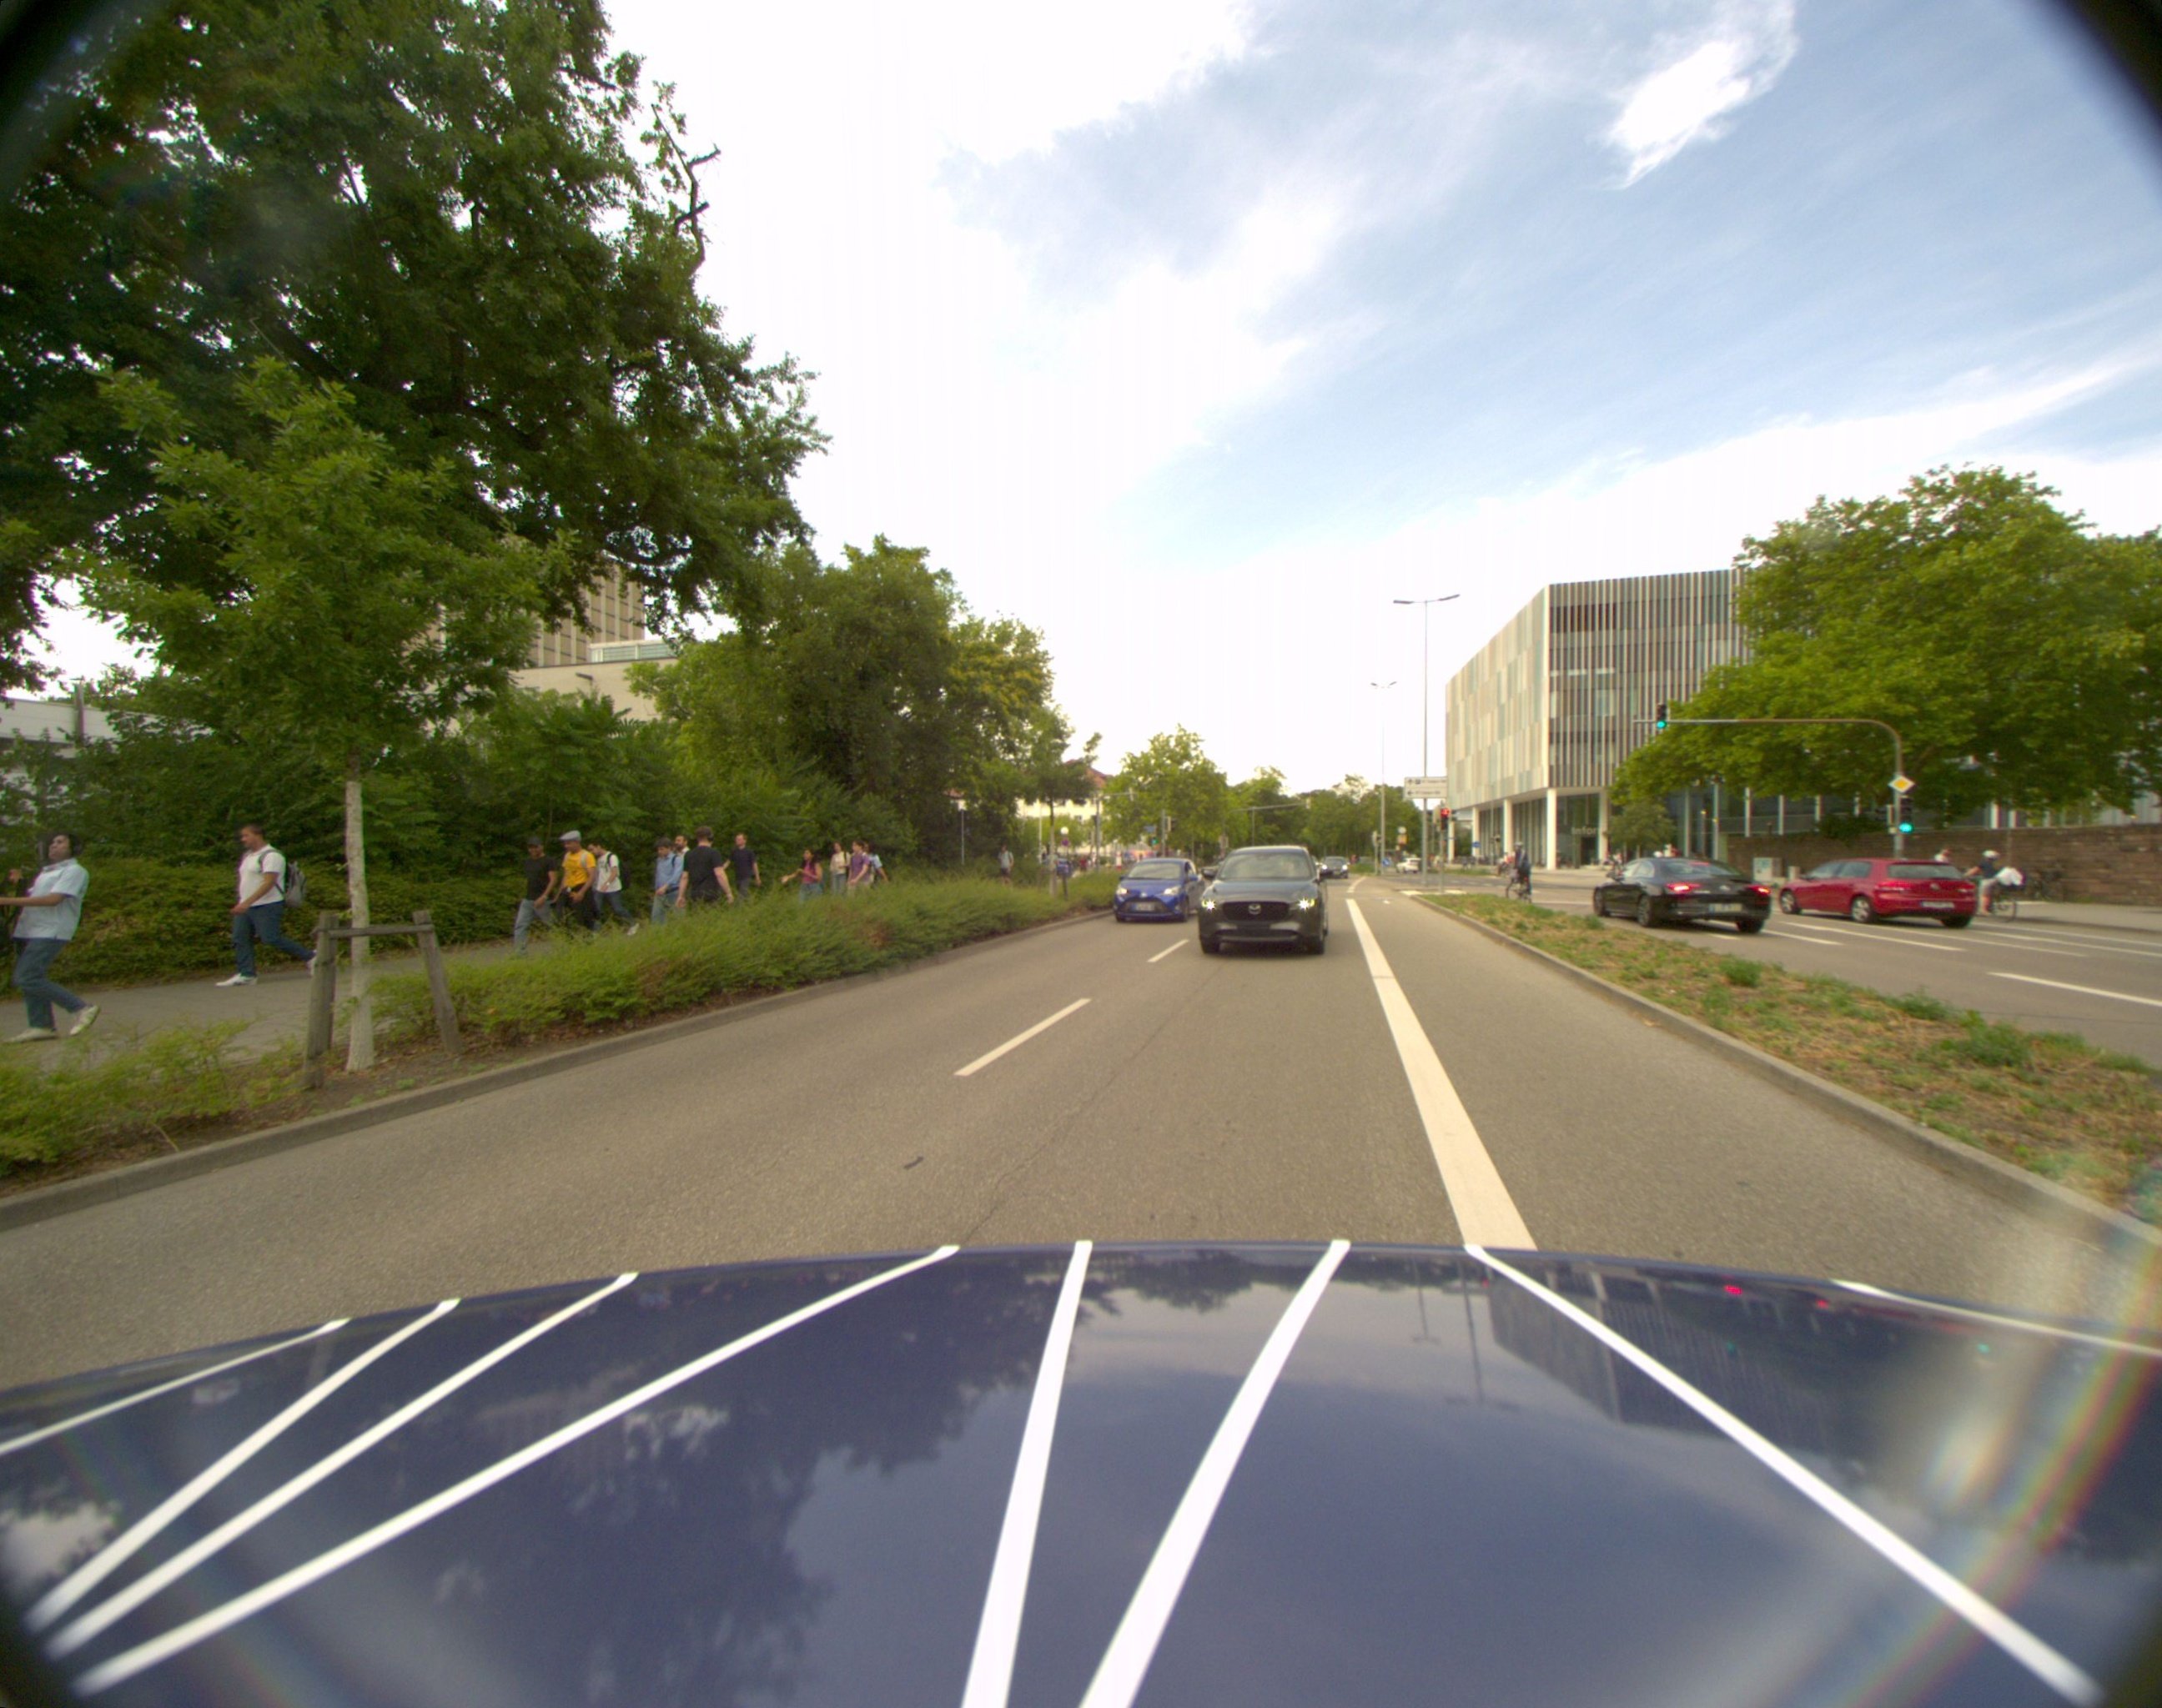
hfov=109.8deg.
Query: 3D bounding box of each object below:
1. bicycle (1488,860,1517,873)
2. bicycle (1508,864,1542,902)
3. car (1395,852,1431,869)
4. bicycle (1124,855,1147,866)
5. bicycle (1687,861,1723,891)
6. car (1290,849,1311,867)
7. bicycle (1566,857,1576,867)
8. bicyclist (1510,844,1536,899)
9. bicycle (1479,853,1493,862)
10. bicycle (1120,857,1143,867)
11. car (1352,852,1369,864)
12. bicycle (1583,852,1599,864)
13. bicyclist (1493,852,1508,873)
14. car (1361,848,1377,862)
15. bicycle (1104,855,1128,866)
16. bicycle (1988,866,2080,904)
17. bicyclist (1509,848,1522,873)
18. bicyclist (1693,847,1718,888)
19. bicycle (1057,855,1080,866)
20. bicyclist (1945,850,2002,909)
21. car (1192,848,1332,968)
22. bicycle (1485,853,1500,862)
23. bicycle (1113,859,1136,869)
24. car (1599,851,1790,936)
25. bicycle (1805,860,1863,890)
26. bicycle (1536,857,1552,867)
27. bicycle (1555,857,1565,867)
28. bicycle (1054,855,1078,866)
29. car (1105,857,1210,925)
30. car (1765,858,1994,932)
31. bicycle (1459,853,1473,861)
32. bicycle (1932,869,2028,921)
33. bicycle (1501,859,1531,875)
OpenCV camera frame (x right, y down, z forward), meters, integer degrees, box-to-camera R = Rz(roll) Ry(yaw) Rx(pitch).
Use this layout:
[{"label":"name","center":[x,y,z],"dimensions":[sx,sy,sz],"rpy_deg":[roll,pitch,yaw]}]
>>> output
[{"label":"bicycle","center":[33.117,0.988,59.702],"dimensions":[1.821,0.983,0.728],"rpy_deg":[-2,1,1]},{"label":"bicycle","center":[12.903,0.818,22.136],"dimensions":[0.574,1.049,1.929],"rpy_deg":[0,0,22]},{"label":"car","center":[31.600,0.597,72.387],"dimensions":[1.805,1.480,4.417],"rpy_deg":[0,0,5]},{"label":"bicycle","center":[6.150,0.737,85.510],"dimensions":[2.469,1.136,0.718],"rpy_deg":[0,1,16]},{"label":"bicycle","center":[26.793,0.937,32.667],"dimensions":[0.619,1.210,2.048],"rpy_deg":[0,0,23]},{"label":"car","center":[23.148,0.411,80.214],"dimensions":[1.996,1.761,4.004],"rpy_deg":[0,0,15]},{"label":"bicycle","center":[47.323,0.788,73.332],"dimensions":[1.601,0.932,0.393],"rpy_deg":[-2,0,-42]},{"label":"bicyclist","center":[12.850,0.491,22.104],"dimensions":[0.572,1.565,0.700],"rpy_deg":[0,1,22]},{"label":"bicycle","center":[52.582,0.469,98.649],"dimensions":[1.580,1.017,0.390],"rpy_deg":[-2,0,10]},{"label":"bicycle","center":[5.605,0.856,84.754],"dimensions":[2.469,1.136,0.718],"rpy_deg":[0,1,16]},{"label":"car","center":[39.308,0.573,106.894],"dimensions":[1.804,1.503,4.108],"rpy_deg":[0,1,15]},{"label":"bicycle","center":[47.030,0.342,70.031],"dimensions":[1.548,1.023,0.393],"rpy_deg":[-2,0,-22]},{"label":"bicyclist","center":[32.982,0.669,59.700],"dimensions":[0.728,1.663,0.724],"rpy_deg":[-2,1,1]},{"label":"car","center":[31.082,0.104,82.101],"dimensions":[1.573,1.480,3.642],"rpy_deg":[-1,0,20]},{"label":"bicycle","center":[3.721,0.668,80.813],"dimensions":[2.469,1.136,0.718],"rpy_deg":[0,1,16]},{"label":"bicycle","center":[28.745,0.921,22.976],"dimensions":[0.549,1.052,1.982],"rpy_deg":[-3,0,11]},{"label":"bicyclist","center":[32.178,0.486,56.241],"dimensions":[0.601,1.796,0.562],"rpy_deg":[0,1,0]},{"label":"bicyclist","center":[26.747,0.569,32.545],"dimensions":[0.618,1.772,0.812],"rpy_deg":[0,1,23]},{"label":"bicycle","center":[-1.441,0.726,84.739],"dimensions":[2.469,1.136,0.718],"rpy_deg":[0,1,16]},{"label":"bicyclist","center":[22.003,0.607,18.753],"dimensions":[0.581,1.411,0.812],"rpy_deg":[0,1,20]},{"label":"car","center":[3.149,0.746,12.863],"dimensions":[1.902,1.639,4.650],"rpy_deg":[0,0,16]},{"label":"bicycle","center":[52.044,0.454,96.177],"dimensions":[1.580,1.017,0.390],"rpy_deg":[-2,0,10]},{"label":"bicycle","center":[4.836,1.121,84.038],"dimensions":[2.469,1.136,0.718],"rpy_deg":[0,1,16]},{"label":"car","center":[12.290,0.674,15.590],"dimensions":[1.803,1.480,4.412],"rpy_deg":[0,0,21]},{"label":"bicycle","center":[30.052,0.809,30.370],"dimensions":[0.578,1.119,2.167],"rpy_deg":[-3,-1,13]},{"label":"bicycle","center":[46.471,0.785,76.276],"dimensions":[1.612,0.932,0.393],"rpy_deg":[-2,0,-18]},{"label":"bicycle","center":[46.764,0.799,74.125],"dimensions":[1.601,0.932,0.393],"rpy_deg":[-2,0,-42]},{"label":"bicycle","center":[-1.672,0.699,83.938],"dimensions":[2.469,1.136,0.718],"rpy_deg":[0,1,16]},{"label":"car","center":[2.016,0.836,18.930],"dimensions":[1.700,1.485,3.838],"rpy_deg":[0,0,20]},{"label":"car","center":[18.427,0.852,17.860],"dimensions":[1.804,1.480,4.294],"rpy_deg":[0,0,16]},{"label":"bicycle","center":[55.096,0.464,108.741],"dimensions":[1.701,1.017,0.435],"rpy_deg":[-2,0,10]},{"label":"bicycle","center":[21.985,0.976,18.643],"dimensions":[0.582,1.164,1.967],"rpy_deg":[0,0,19]},{"label":"bicycle","center":[32.206,0.976,56.260],"dimensions":[1.894,1.163,0.607],"rpy_deg":[0,1,0]}]
